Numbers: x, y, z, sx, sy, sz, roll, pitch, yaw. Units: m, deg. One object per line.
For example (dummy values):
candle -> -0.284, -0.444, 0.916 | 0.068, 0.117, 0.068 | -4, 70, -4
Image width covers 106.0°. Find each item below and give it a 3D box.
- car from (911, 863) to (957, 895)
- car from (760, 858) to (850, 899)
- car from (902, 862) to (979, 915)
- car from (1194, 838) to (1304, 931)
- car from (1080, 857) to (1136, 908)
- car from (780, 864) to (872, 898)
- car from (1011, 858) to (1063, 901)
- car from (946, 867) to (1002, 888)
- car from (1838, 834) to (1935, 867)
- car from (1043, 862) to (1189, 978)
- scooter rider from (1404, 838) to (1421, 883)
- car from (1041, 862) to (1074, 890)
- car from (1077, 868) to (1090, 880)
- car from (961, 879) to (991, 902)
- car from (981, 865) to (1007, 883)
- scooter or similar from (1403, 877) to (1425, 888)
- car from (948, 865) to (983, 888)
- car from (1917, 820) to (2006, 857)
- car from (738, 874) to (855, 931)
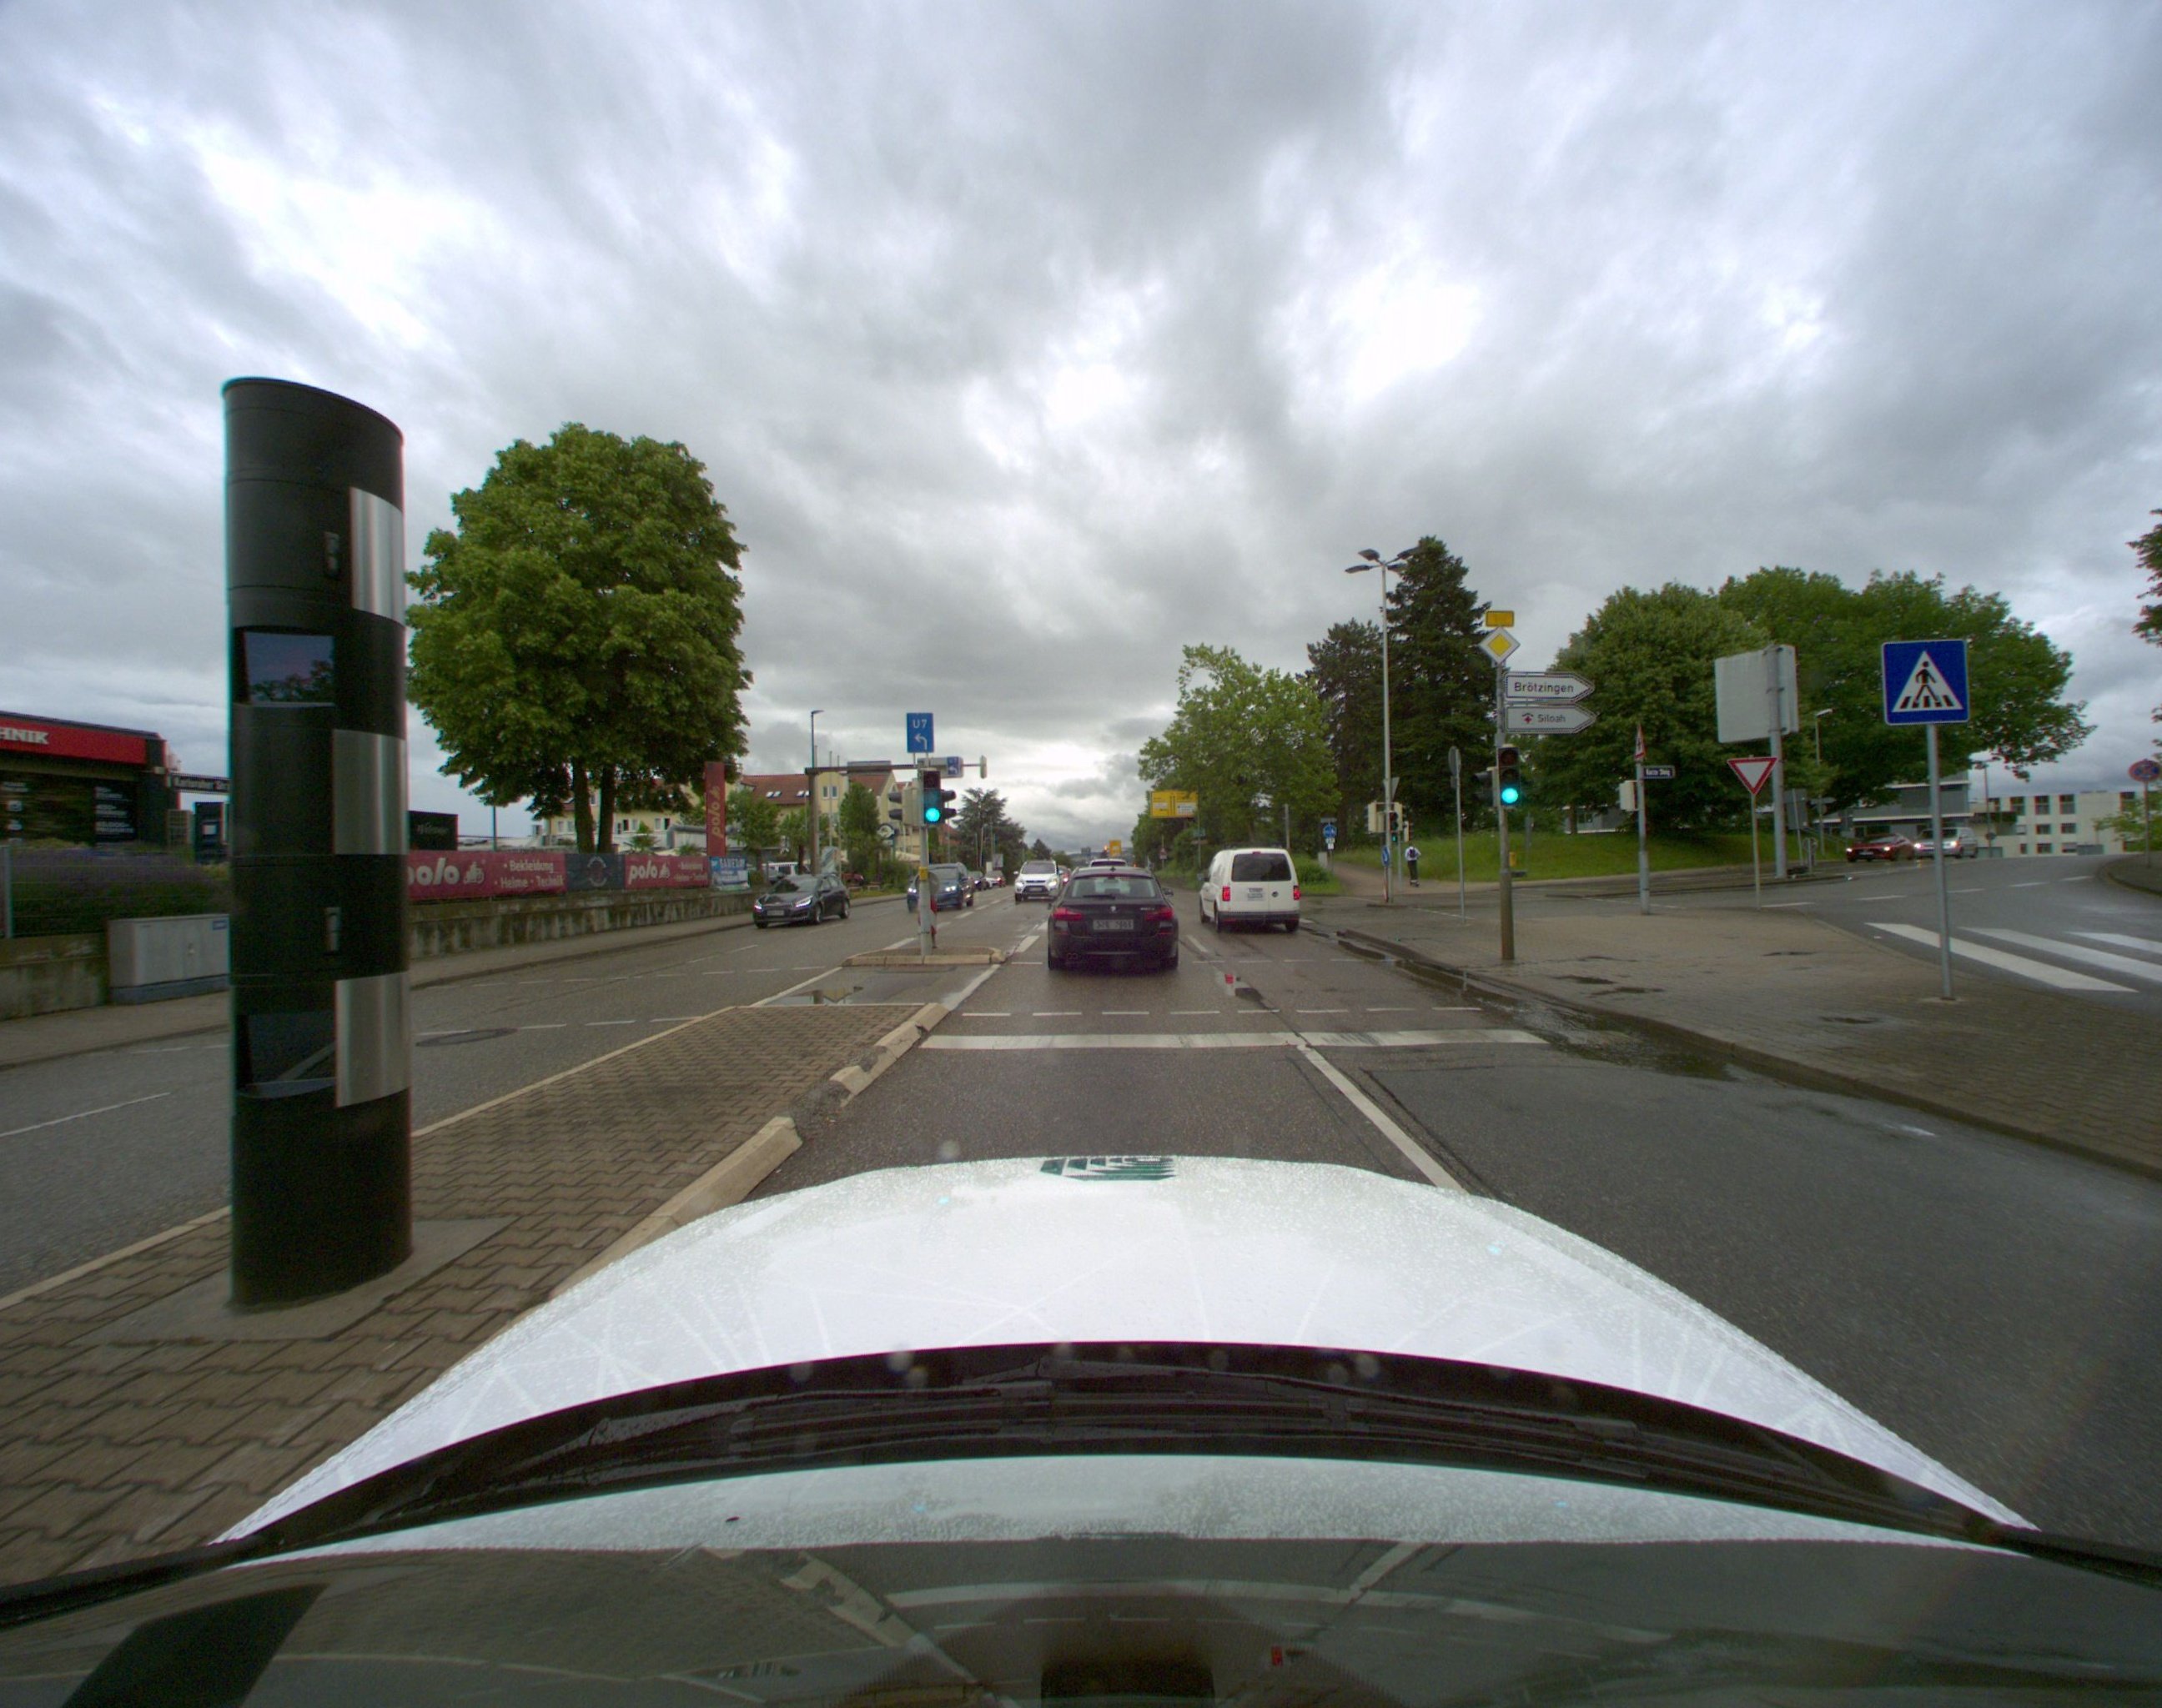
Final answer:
car -> -8.234, 1.387, 45.973 | 1.670, 1.618, 4.001 | -3, 0, 1
car -> -15.344, 1.342, 45.301 | 4.410, 2.013, 1.982 | -3, -1, -27
car -> -4.915, 1.152, 29.022 | 1.833, 1.649, 4.298 | -3, 0, 1
car -> 3.673, 0.617, 18.436 | 1.758, 1.877, 3.806 | -1, 0, 1
car -> 0.972, 0.959, 29.270 | 1.861, 1.673, 4.002 | -1, 0, 2
car -> -15.454, 1.639, 49.385 | 5.024, 1.702, 1.982 | -3, -3, -27
car -> -1.787, 1.026, 34.278 | 1.833, 1.649, 4.298 | -2, 0, 1
car -> -8.497, 1.877, 64.775 | 4.005, 1.477, 1.647 | -2, -2, 11
car -> 40.676, -0.173, 41.134 | 3.999, 1.428, 1.841 | -3, -2, -19
car -> 0.530, 0.879, 12.603 | 1.891, 1.441, 4.002 | -1, 0, 2
scooter rider -> 14.972, 0.291, 36.769 | 0.499, 1.965, 0.548 | -2, 0, 1
car -> -1.291, 1.245, 45.563 | 1.626, 1.434, 4.144 | -1, -2, 1
car -> 0.377, 3.158, 129.037 | 1.861, 1.673, 4.002 | -1, 0, 2
car -> -7.576, 2.629, 59.085 | 1.597, 1.400, 4.404 | -3, 0, 0
car -> -7.710, 1.760, 72.366 | 1.764, 1.569, 4.001 | -1, -1, 1
scooter or similar -> 15.007, 1.275, 36.701 | 0.485, 0.403, 1.256 | -2, 0, 1
car -> -7.539, 1.447, 53.549 | 1.617, 1.332, 3.947 | -3, 0, 1
car -> 50.937, -0.871, 47.130 | 3.996, 1.859, 1.842 | -3, -2, -17
car -> -8.378, 1.380, 24.402 | 1.910, 1.379, 4.127 | -3, 0, 2
